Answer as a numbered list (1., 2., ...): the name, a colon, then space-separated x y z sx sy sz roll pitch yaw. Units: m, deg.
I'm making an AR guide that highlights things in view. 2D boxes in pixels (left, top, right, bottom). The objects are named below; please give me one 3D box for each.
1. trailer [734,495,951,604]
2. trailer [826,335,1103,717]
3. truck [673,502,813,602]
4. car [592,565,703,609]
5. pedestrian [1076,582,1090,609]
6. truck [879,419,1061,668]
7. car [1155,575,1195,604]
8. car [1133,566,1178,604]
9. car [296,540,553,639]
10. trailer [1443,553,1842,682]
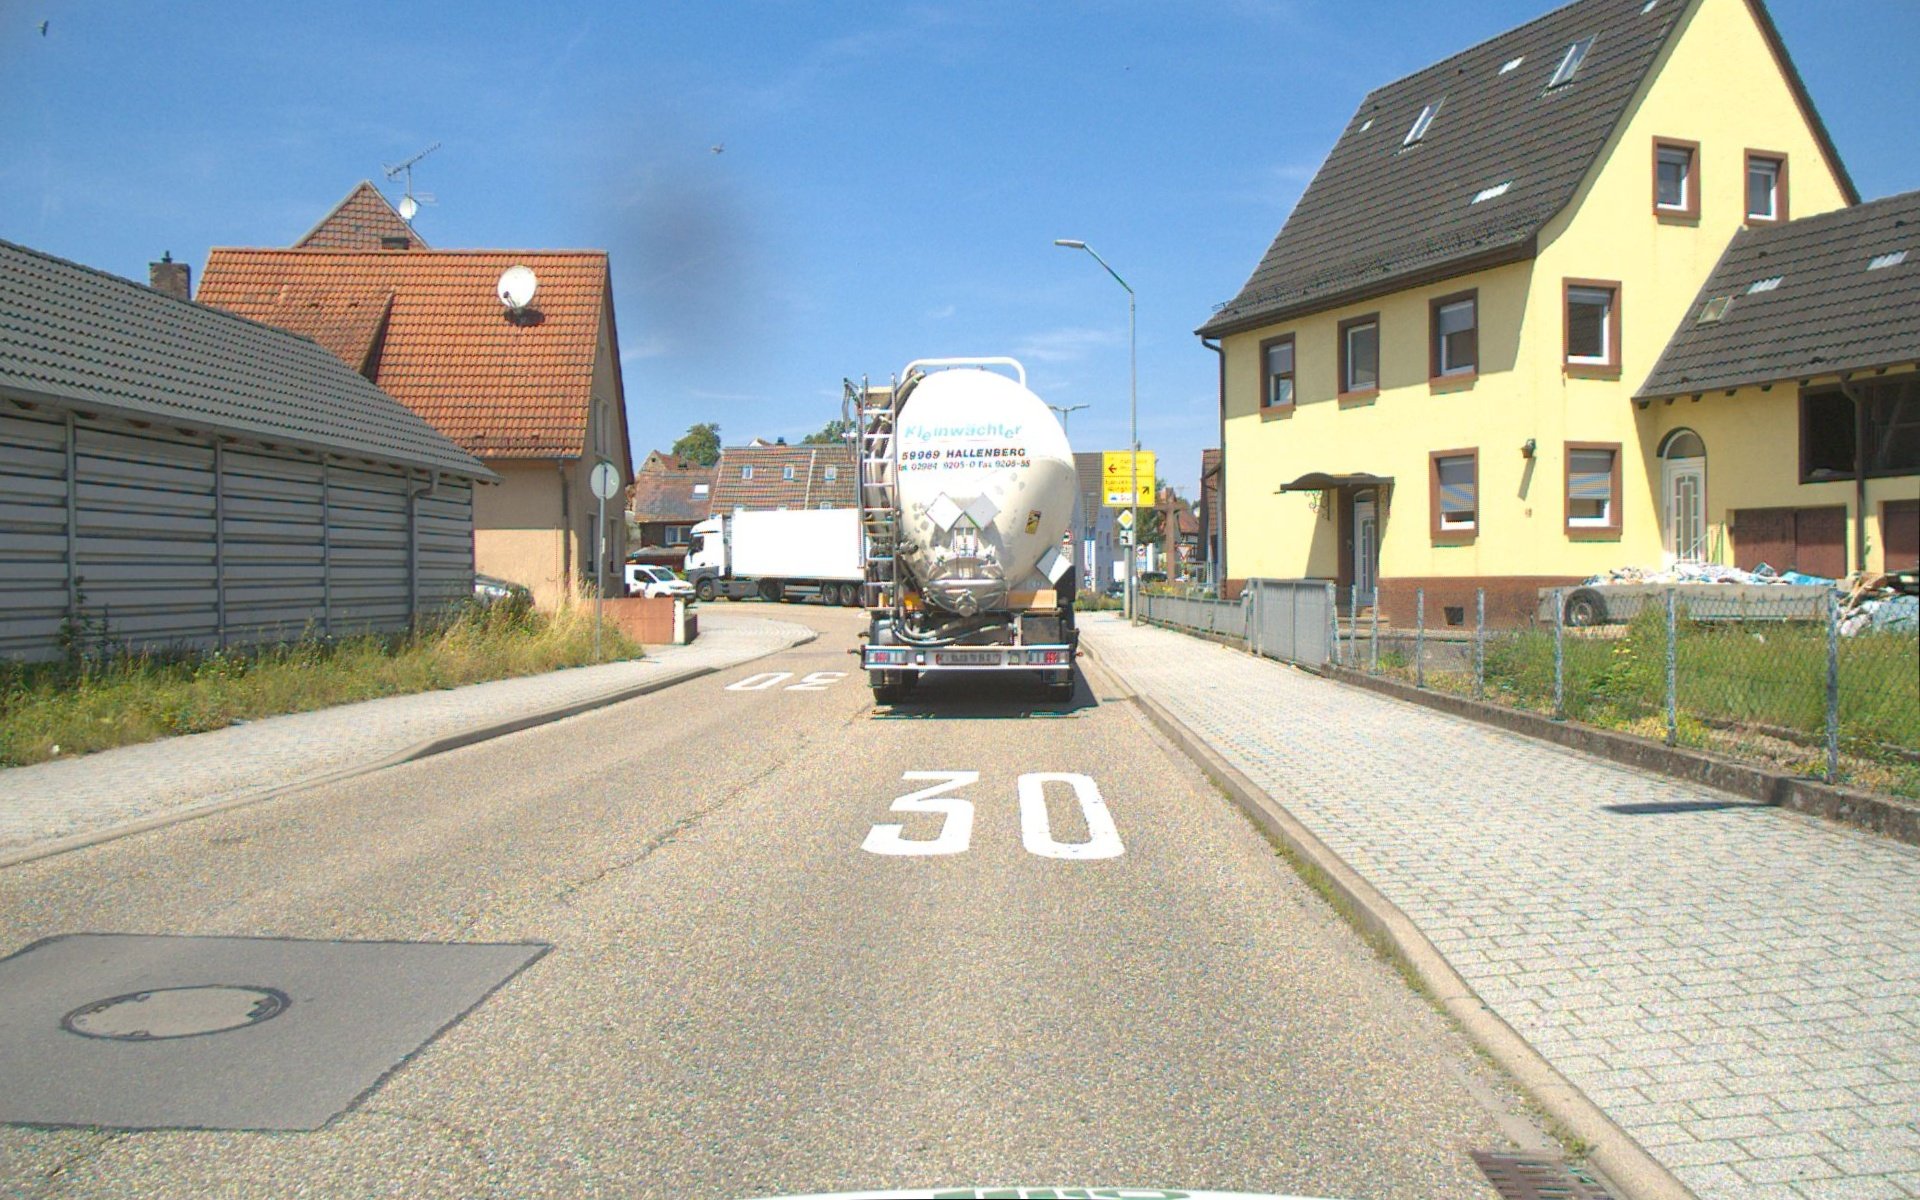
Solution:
1. trailer: -5.390 -2.033 72.074 3.111 4.352 12.322 0 0 -38
2. trailer: 0.100 -0.792 23.313 2.892 4.017 11.619 1 0 0
3. truck: -10.096 -2.154 76.864 5.805 4.478 3.109 0 0 30
4. car: -13.482 -0.592 71.263 4.416 1.816 1.879 1 2 23
5. pedestrian: 9.444 -0.359 126.851 0.753 2.049 0.976 1 1 22
6. truck: 0.235 -0.926 29.761 2.926 4.034 5.580 1 0 1
7. car: 12.810 -0.633 98.387 1.778 1.663 4.210 0 1 16
8. car: 10.824 -0.804 91.576 1.951 1.946 4.327 0 -1 14
9. car: -9.751 -0.199 30.319 4.038 1.666 1.866 -1 1 3
10. trailer: 9.245 0.202 22.325 5.284 1.573 2.119 0 0 -28
